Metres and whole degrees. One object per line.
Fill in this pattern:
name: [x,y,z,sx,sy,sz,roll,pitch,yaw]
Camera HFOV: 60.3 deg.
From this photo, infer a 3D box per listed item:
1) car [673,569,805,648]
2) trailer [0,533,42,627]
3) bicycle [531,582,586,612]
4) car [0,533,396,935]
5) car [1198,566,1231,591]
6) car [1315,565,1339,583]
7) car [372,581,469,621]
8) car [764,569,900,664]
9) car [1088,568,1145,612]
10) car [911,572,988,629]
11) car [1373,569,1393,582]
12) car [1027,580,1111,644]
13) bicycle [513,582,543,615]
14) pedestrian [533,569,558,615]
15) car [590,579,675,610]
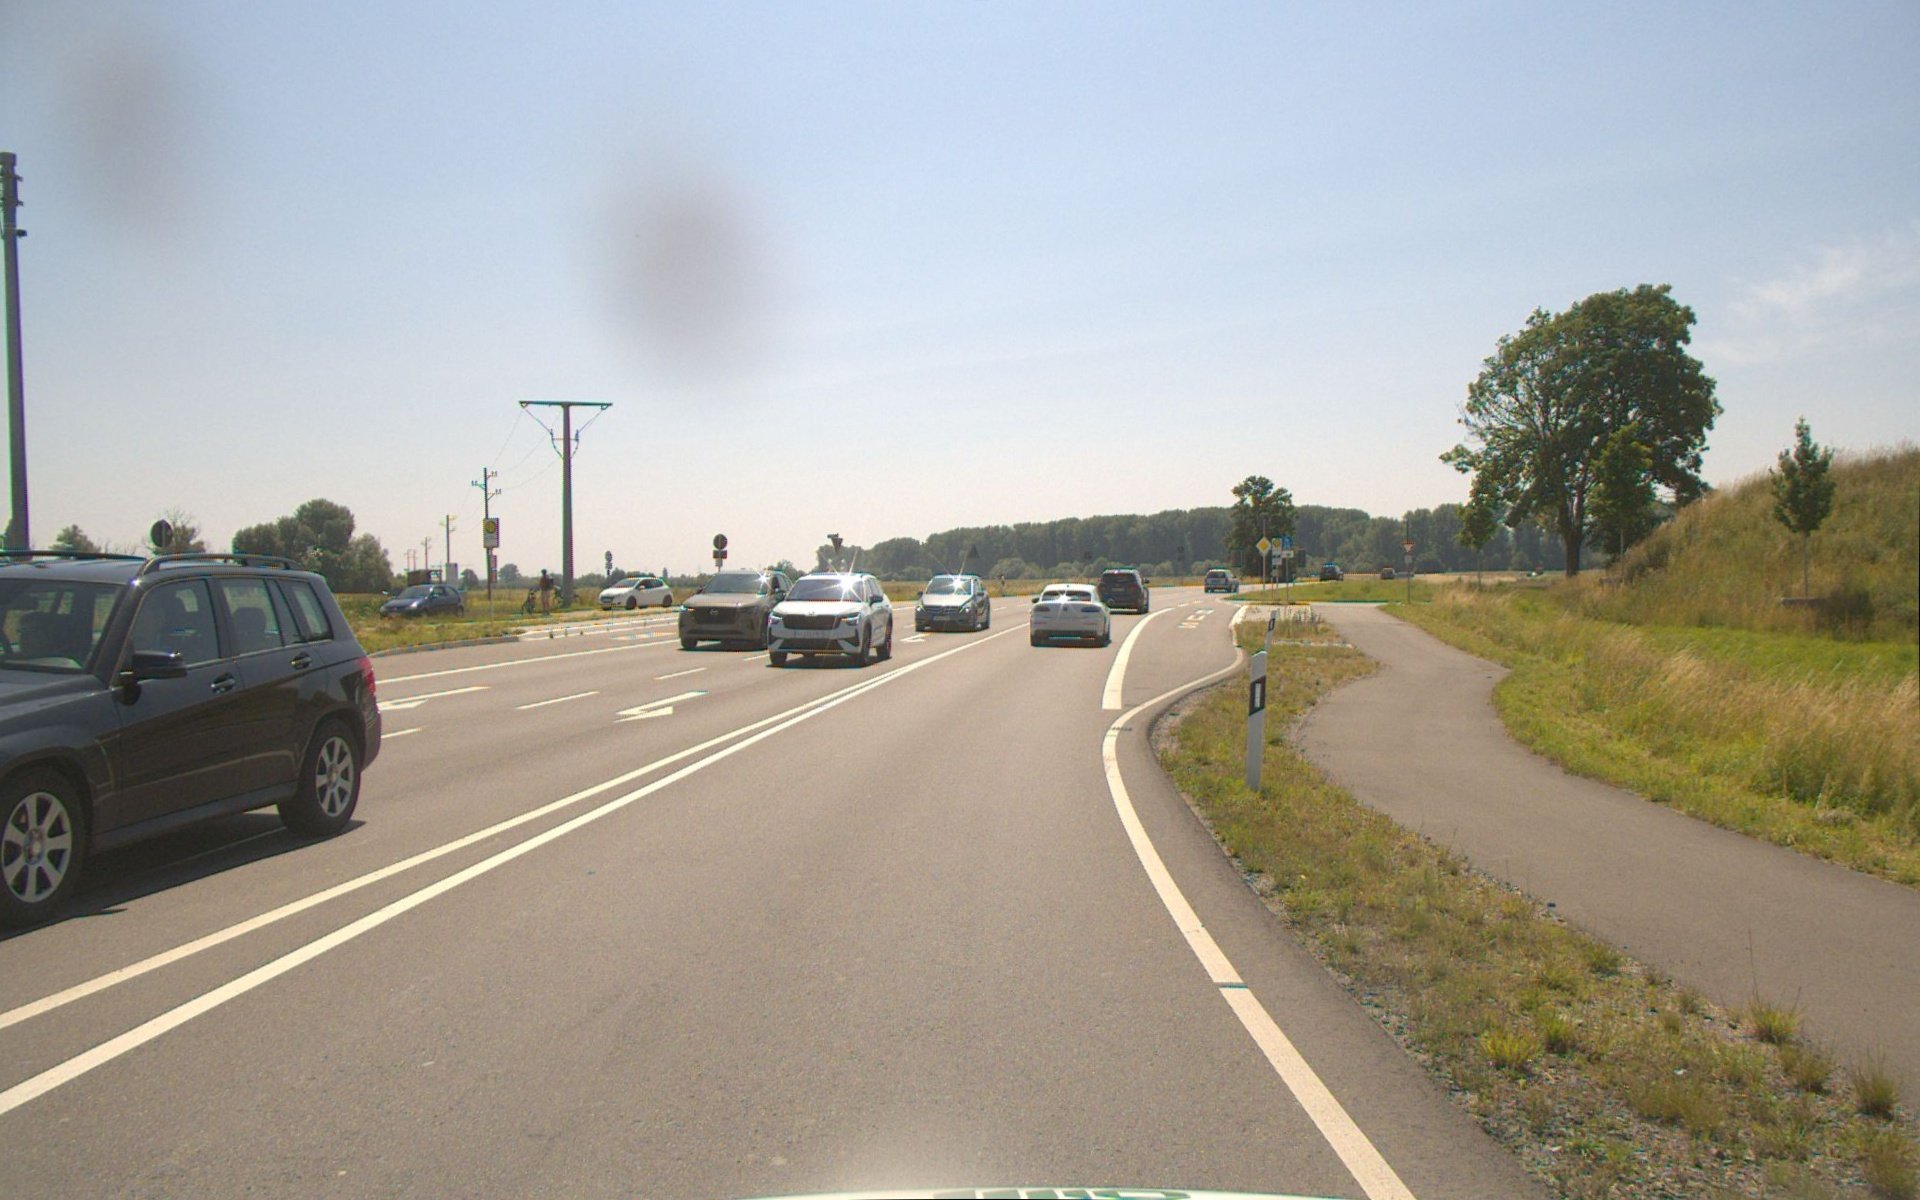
car: [-4.941,0.136,37.735,1.920,1.679,4.793,0,1,6]
trailer: [-26.956,-0.498,42.270,2.620,2.498,6.389,0,1,10]
bicycle: [-20.436,-0.171,84.169,2.557,1.396,0.901,-2,-2,-5]
car: [-4.769,0.564,8.632,1.826,1.679,4.330,0,0,6]
car: [16.322,-1.361,105.888,1.761,1.454,4.096,-3,-2,13]
car: [34.507,-2.407,155.456,1.762,1.502,4.416,-2,-1,18]
car: [-19.856,0.023,61.018,1.638,1.411,3.842,0,0,14]
car: [-2.384,0.284,32.057,1.838,1.679,4.846,0,0,5]
car: [6.213,-0.372,65.293,1.893,1.645,4.381,1,-1,9]
car: [-0.251,-0.026,48.579,1.695,1.582,4.383,1,1,7]
car: [50.481,-2.941,197.183,1.763,1.548,3.882,1,2,22]
car: [2.736,0.286,40.693,1.808,1.458,4.611,0,0,7]
bicycle: [-17.210,-0.061,65.892,0.480,1.270,1.511,0,0,15]
pedestrian: [-16.577,-0.333,66.148,0.595,1.816,0.847,0,0,16]
car: [-15.159,-0.259,76.692,1.659,1.355,4.030,1,0,29]
